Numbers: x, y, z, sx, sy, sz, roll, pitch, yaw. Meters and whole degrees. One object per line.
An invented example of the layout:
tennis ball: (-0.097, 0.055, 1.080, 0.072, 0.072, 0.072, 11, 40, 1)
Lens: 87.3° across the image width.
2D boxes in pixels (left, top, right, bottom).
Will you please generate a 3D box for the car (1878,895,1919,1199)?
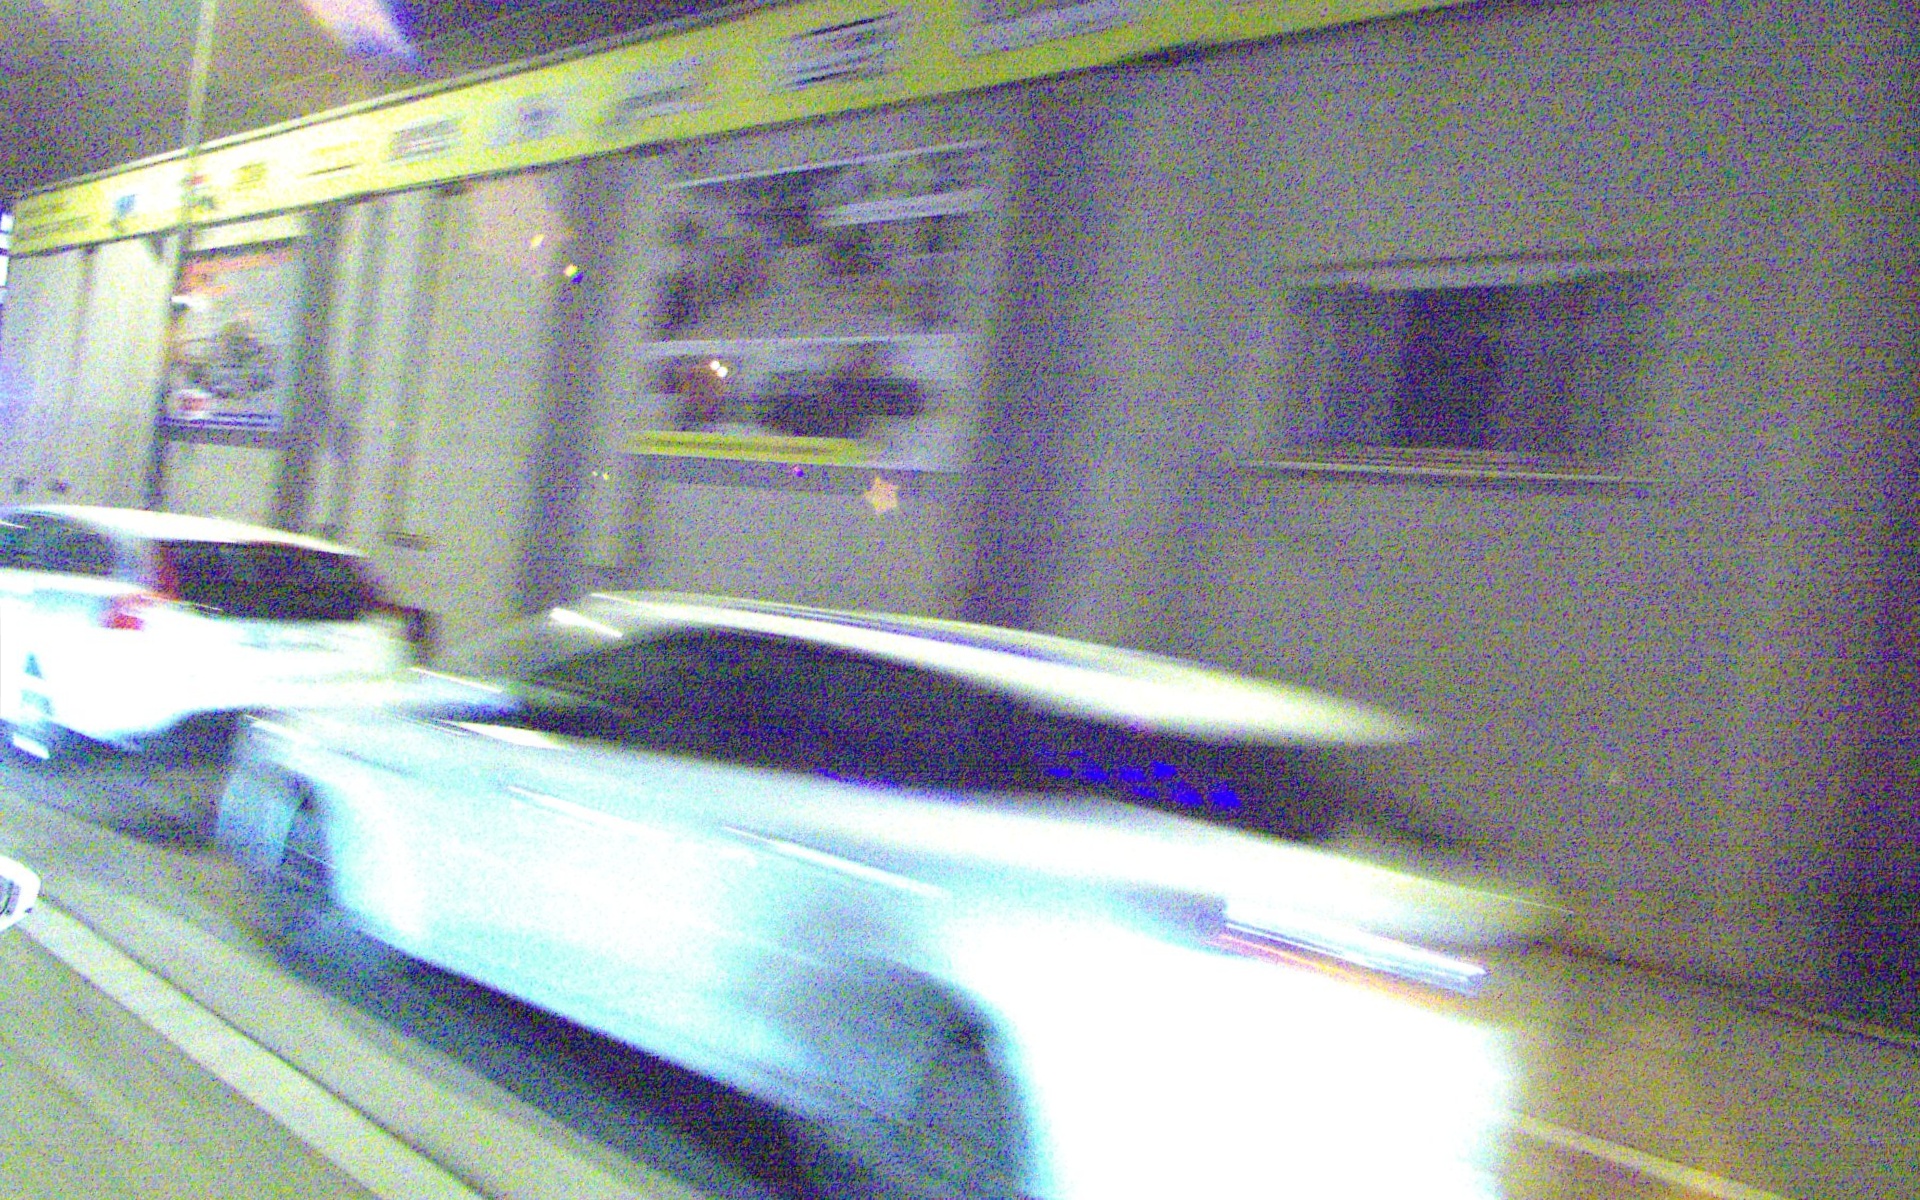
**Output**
car: (4.057, 1.155, 0.871, 4.381, 1.643, 1.826, 7, 1, 29)

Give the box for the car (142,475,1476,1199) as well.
car: (-0.746, 0.570, 3.624, 4.468, 1.562, 1.779, 6, -1, 29)

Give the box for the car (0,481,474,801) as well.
car: (-5.615, 0.097, 6.792, 4.468, 1.506, 1.864, 6, -1, 29)

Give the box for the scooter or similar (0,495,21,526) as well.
scooter or similar: (-36.739, -3.454, 38.150, 0.704, 1.105, 1.678, 7, 0, -6)
